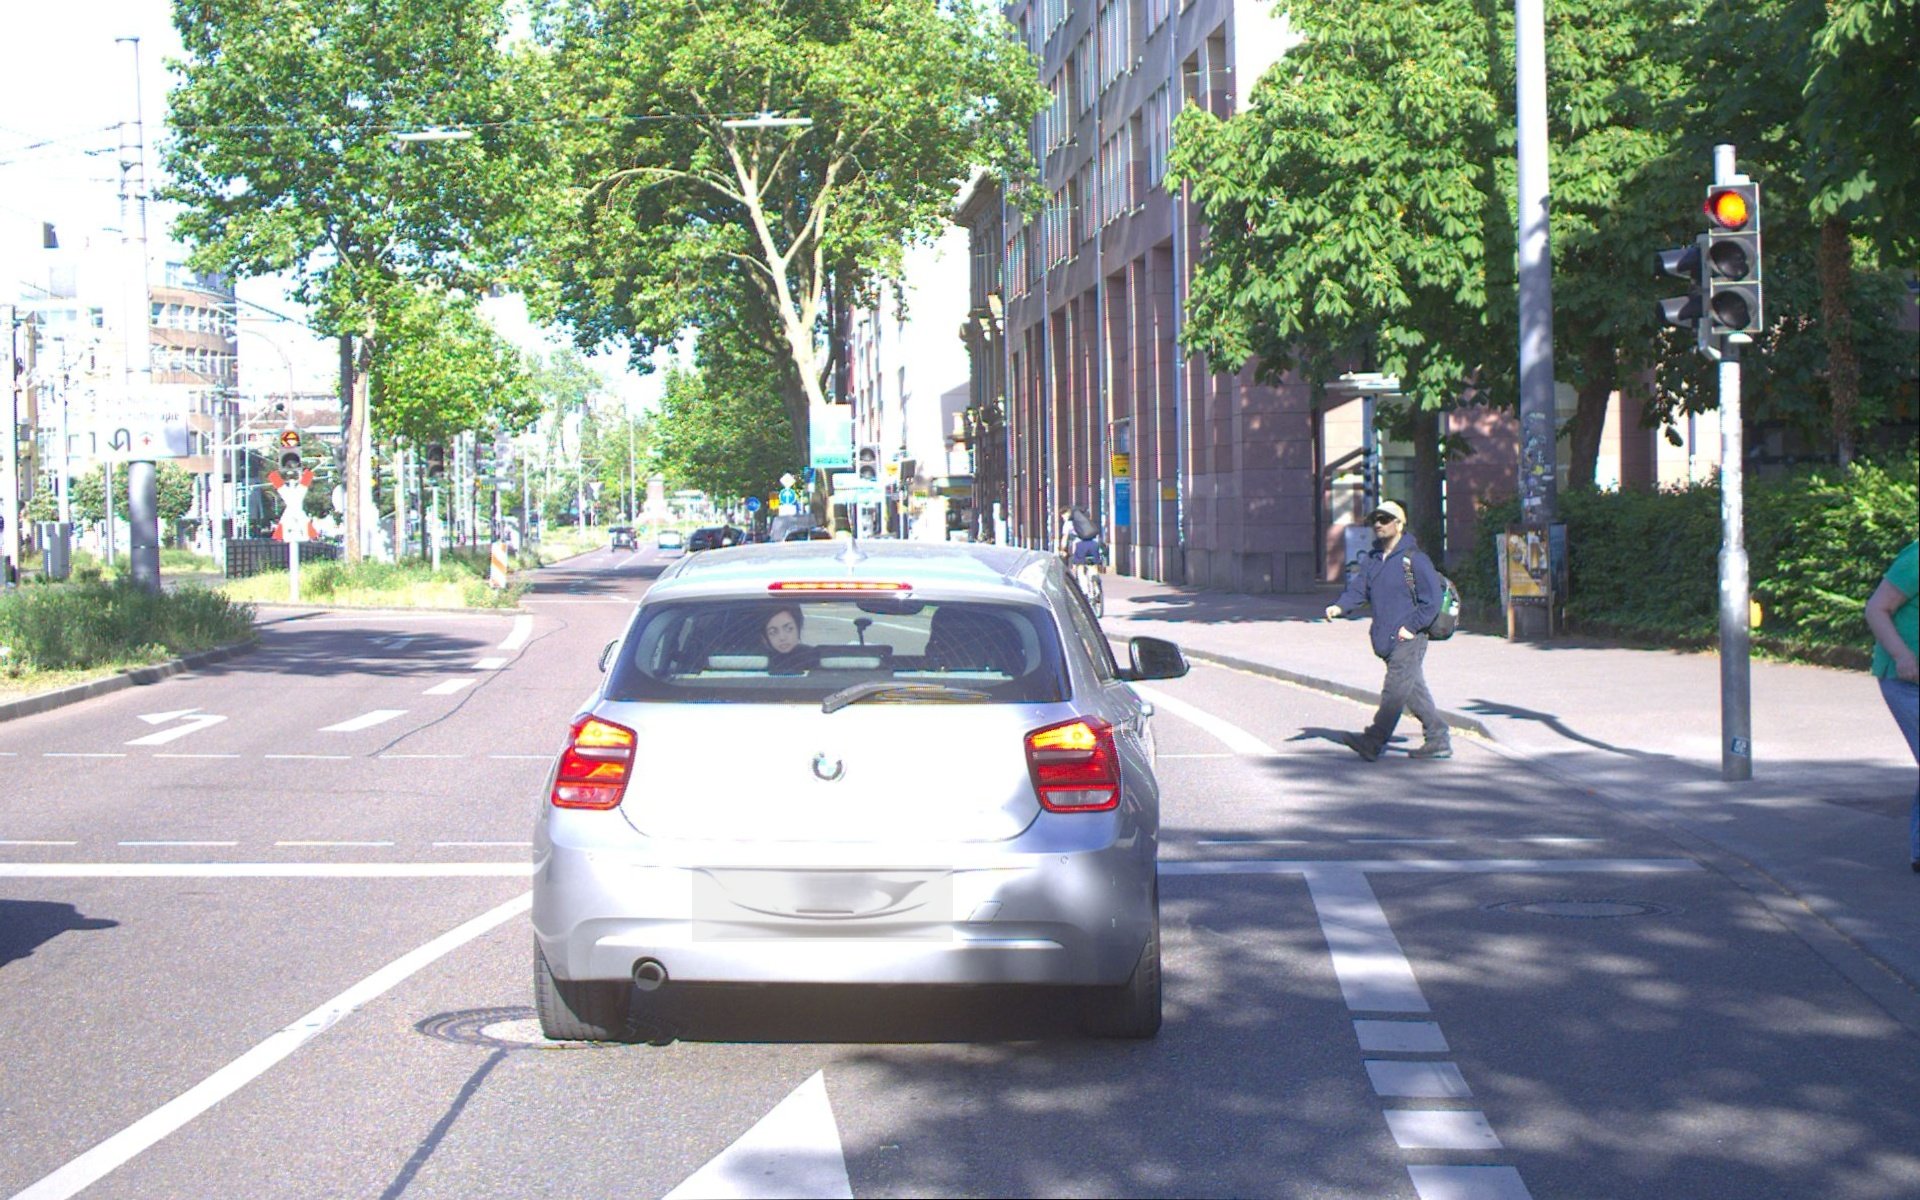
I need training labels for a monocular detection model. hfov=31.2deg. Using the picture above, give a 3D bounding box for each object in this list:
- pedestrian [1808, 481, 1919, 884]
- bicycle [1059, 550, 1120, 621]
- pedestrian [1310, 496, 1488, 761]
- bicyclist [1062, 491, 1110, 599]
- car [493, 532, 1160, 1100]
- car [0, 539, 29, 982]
[{"bbox_3d":[3.931,0.312,13.705,0.831,1.570,0.737,-1,1,34],"label":"pedestrian"},{"bbox_3d":[2.025,-0.235,53.535,0.831,1.038,1.874,-1,1,5],"label":"bicycle"},{"bbox_3d":[2.732,0.165,21.435,0.940,1.623,0.629,0,1,-13],"label":"pedestrian"},{"bbox_3d":[1.964,-0.866,53.437,0.658,1.651,0.765,-1,1,5],"label":"bicyclist"},{"bbox_3d":[-0.243,0.521,10.851,1.730,1.385,3.840,1,2,3],"label":"car"},{"bbox_3d":[-3.817,0.530,9.441,1.660,1.404,3.632,0,1,-2],"label":"car"}]
